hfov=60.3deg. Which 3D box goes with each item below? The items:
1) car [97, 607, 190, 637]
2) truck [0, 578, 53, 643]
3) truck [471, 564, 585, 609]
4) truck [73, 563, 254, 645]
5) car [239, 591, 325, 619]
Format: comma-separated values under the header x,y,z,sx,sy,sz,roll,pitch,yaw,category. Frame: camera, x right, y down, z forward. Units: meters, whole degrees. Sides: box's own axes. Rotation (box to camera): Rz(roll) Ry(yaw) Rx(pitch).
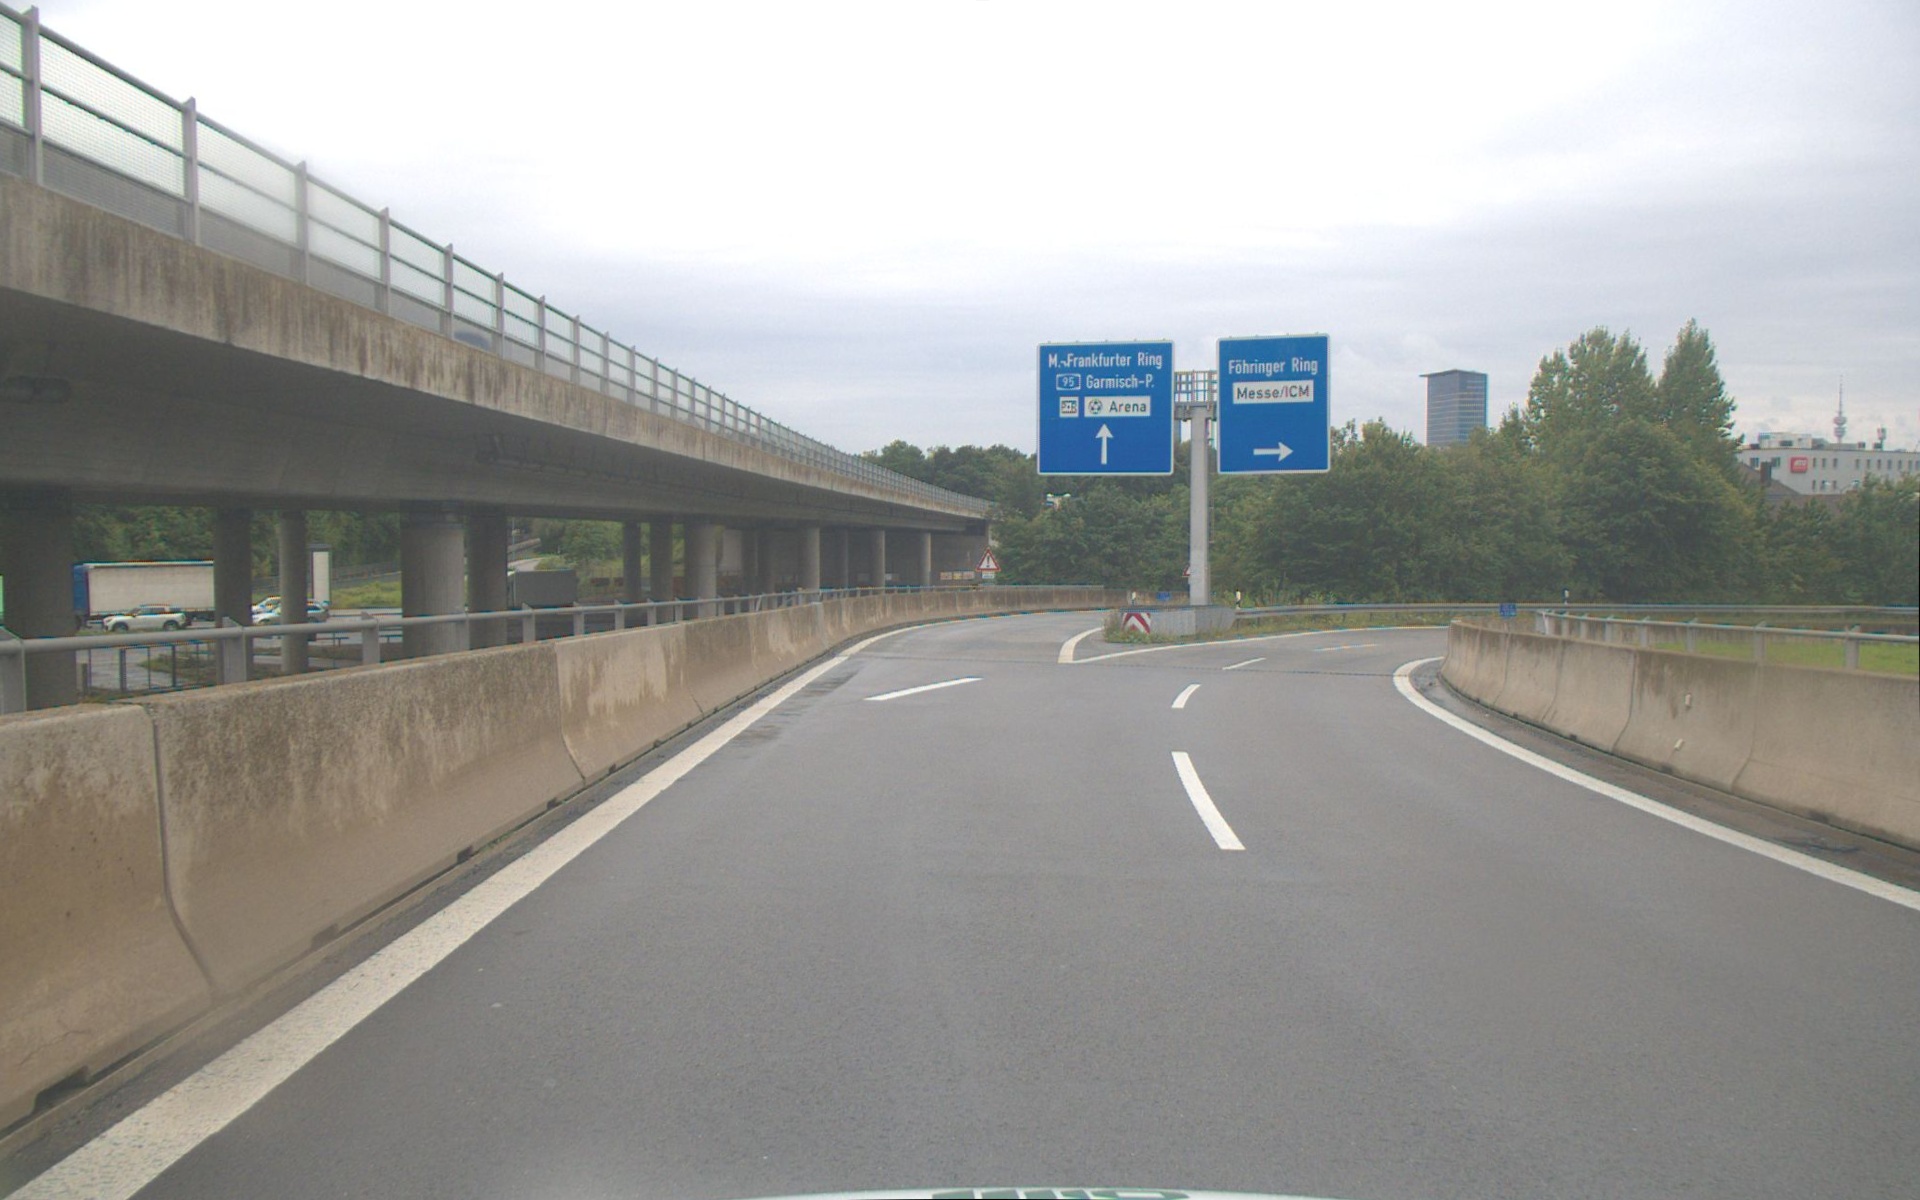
x,y,z,sx,sy,sz,roll,pitch,yaw,category
-47.374,1.259,96.002,4.543,1.611,1.949,-1,1,-38,car
-57.062,0.640,97.010,6.567,3.744,2.765,-1,1,-35,truck
-29.332,-0.887,112.416,7.142,3.029,2.235,0,0,-33,truck
-47.726,0.172,99.308,9.491,4.671,2.765,-1,1,-35,truck
-41.214,0.263,100.568,4.543,1.611,1.949,-1,1,-38,car
